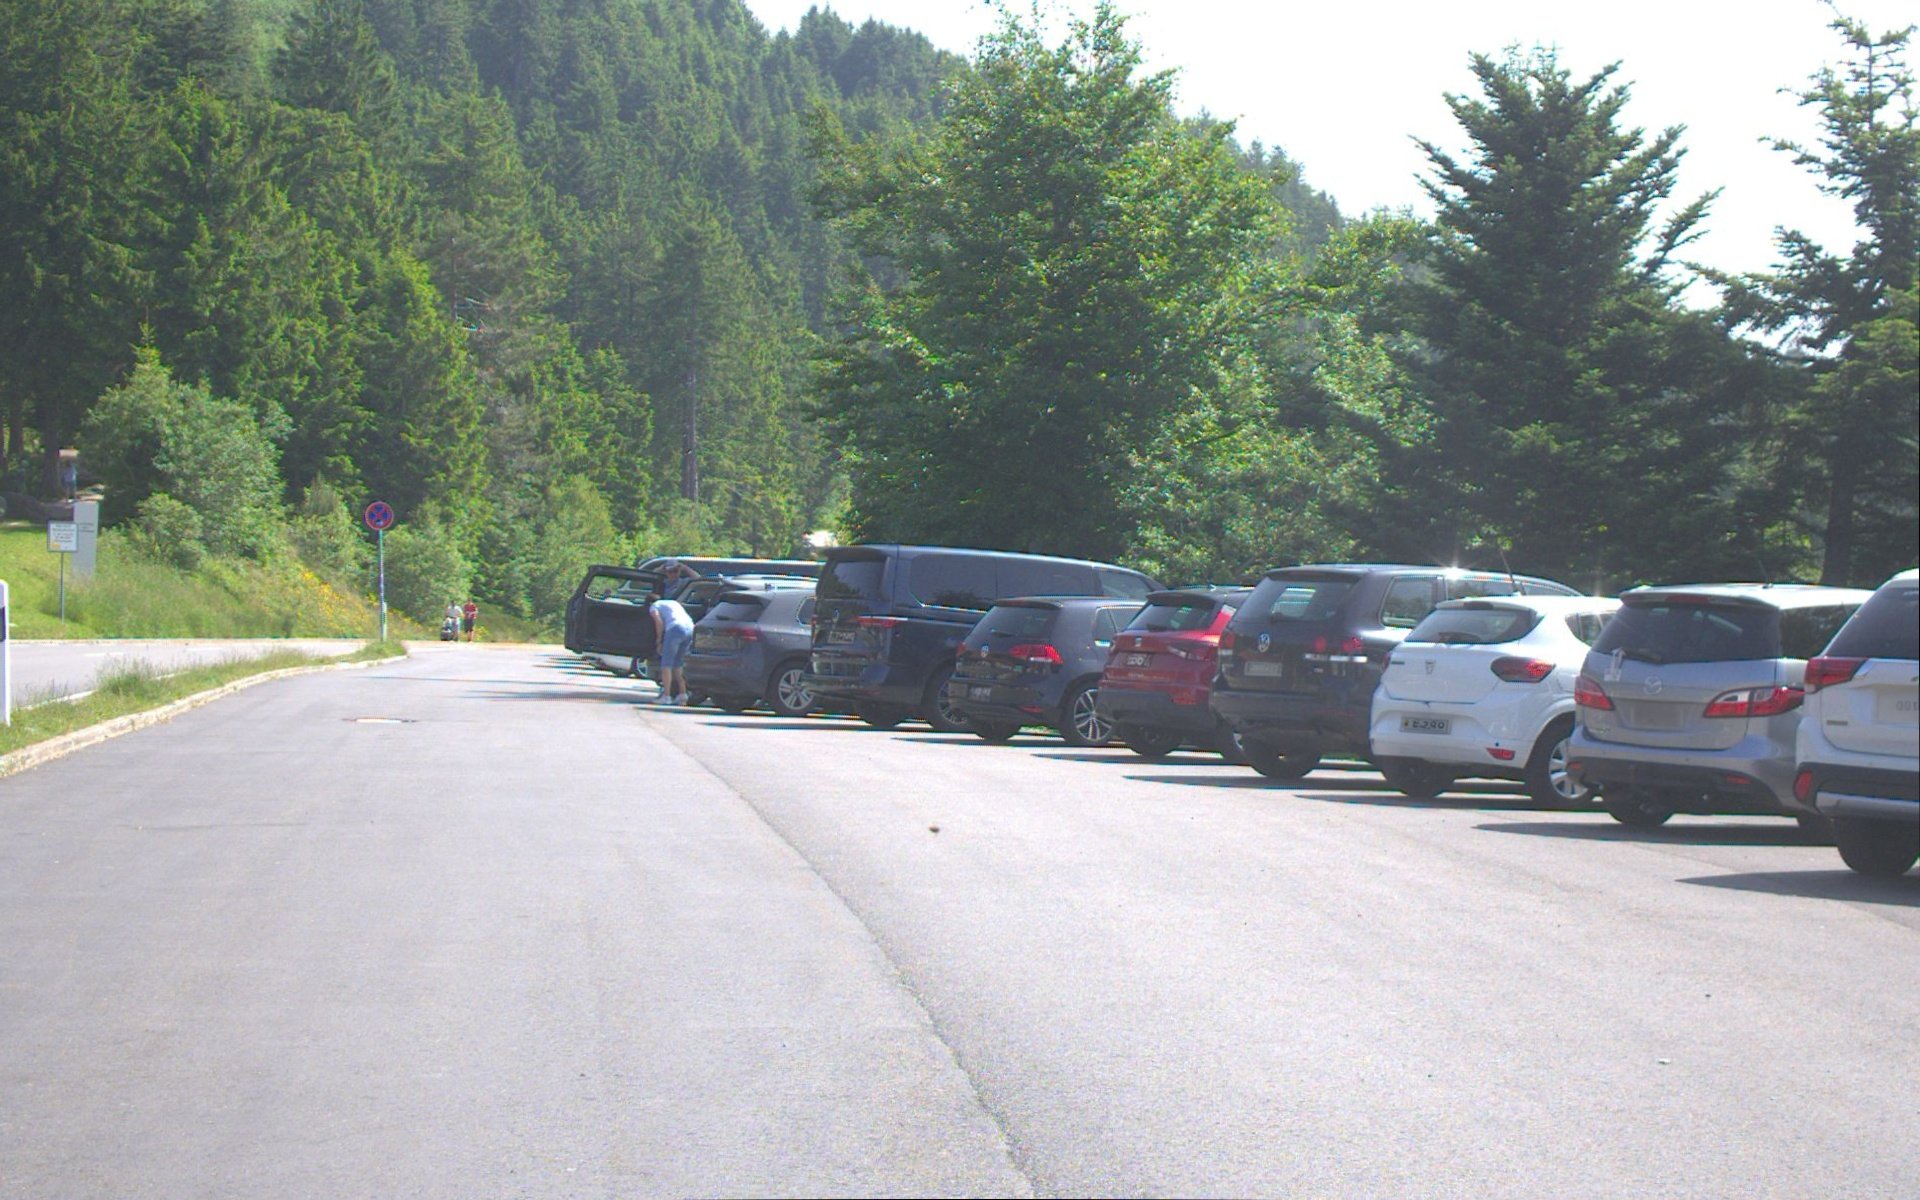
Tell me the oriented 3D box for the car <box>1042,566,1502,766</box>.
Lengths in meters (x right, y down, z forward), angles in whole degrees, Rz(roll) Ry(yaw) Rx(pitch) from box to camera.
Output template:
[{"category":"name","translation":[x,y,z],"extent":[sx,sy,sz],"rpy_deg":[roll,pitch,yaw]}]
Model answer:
[{"category":"car","translation":[2.834,0.610,30.703],"extent":[3.989,1.584,1.863],"rpy_deg":[3,0,-44]}]

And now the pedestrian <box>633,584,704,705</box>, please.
[{"category":"pedestrian","translation":[-3.424,0.521,40.464],"extent":[0.773,1.398,0.669],"rpy_deg":[0,2,0]}]

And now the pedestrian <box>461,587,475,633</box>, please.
[{"category":"pedestrian","translation":[-18.866,0.394,131.799],"extent":[0.395,1.741,0.406],"rpy_deg":[1,1,7]}]

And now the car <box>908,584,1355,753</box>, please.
[{"category":"car","translation":[1.676,0.666,33.130],"extent":[3.987,1.410,1.744],"rpy_deg":[3,0,-34]}]

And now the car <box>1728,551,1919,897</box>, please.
[{"category":"car","translation":[6.188,0.680,18.661],"extent":[4.215,1.689,1.863],"rpy_deg":[2,1,-44]}]

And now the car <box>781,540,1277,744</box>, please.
[{"category":"car","translation":[0.736,0.448,36.221],"extent":[4.756,1.873,1.967],"rpy_deg":[3,0,-25]}]

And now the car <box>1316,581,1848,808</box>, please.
[{"category":"car","translation":[4.611,0.713,25.150],"extent":[3.989,1.471,1.767],"rpy_deg":[3,0,-44]}]

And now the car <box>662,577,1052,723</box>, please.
[{"category":"car","translation":[-1.168,0.576,39.259],"extent":[3.986,1.438,1.840],"rpy_deg":[3,0,-28]}]

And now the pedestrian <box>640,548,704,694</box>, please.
[{"category":"pedestrian","translation":[-3.570,0.260,42.573],"extent":[0.578,1.755,0.633],"rpy_deg":[4,-1,-15]}]

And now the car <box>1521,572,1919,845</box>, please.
[{"category":"car","translation":[5.600,0.712,22.179],"extent":[3.989,1.543,1.819],"rpy_deg":[3,0,-44]}]

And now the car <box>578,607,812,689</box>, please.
[{"category":"car","translation":[-5.480,0.990,71.043],"extent":[4.452,1.294,1.582],"rpy_deg":[5,-1,-23]}]

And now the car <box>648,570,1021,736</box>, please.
[{"category":"car","translation":[-1.523,0.657,42.038],"extent":[3.987,1.656,2.000],"rpy_deg":[6,-2,-34]}]

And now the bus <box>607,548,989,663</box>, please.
[{"category":"bus","translation":[-5.614,0.162,119.480],"extent":[12.866,3.566,2.981],"rpy_deg":[1,2,10]}]

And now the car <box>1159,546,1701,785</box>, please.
[{"category":"car","translation":[3.804,0.548,27.381],"extent":[4.261,1.689,1.990],"rpy_deg":[3,0,-44]}]
